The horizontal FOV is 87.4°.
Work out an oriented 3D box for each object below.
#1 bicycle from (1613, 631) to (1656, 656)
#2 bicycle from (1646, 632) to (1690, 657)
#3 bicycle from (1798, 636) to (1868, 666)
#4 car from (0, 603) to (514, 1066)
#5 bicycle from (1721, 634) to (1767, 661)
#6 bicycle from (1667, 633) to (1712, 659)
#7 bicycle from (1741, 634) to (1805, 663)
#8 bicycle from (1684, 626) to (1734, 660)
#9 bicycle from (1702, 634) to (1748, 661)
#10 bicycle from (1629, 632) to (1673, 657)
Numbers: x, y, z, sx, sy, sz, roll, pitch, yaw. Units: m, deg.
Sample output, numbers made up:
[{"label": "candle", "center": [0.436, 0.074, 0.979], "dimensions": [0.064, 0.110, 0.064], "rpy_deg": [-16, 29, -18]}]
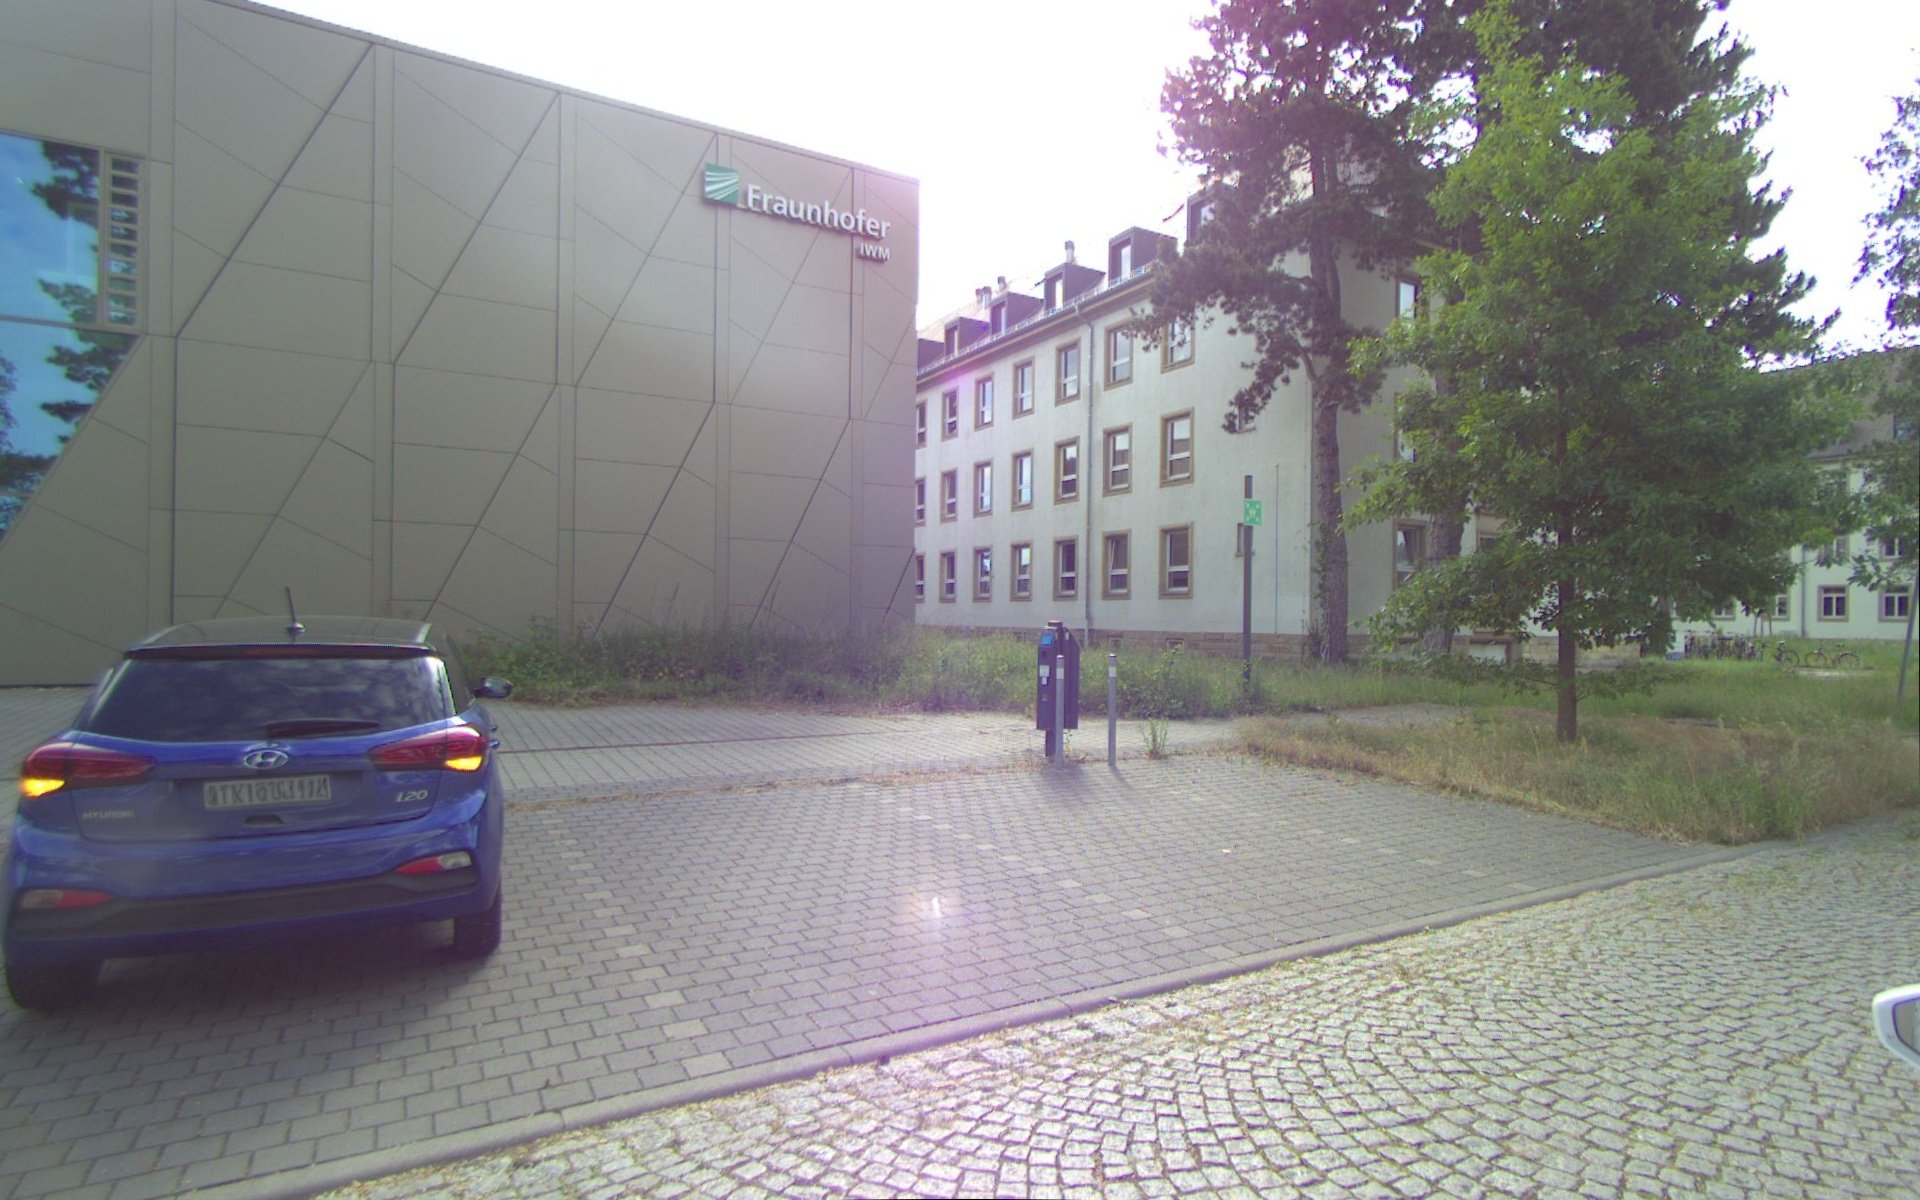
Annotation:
[{"label": "bicycle", "center": [30.615, 1.964, 45.584], "dimensions": [2.246, 1.090, 0.732], "rpy_deg": [1, -1, -30]}, {"label": "bicycle", "center": [31.185, 1.960, 44.250], "dimensions": [2.246, 1.090, 0.732], "rpy_deg": [1, -1, -30]}, {"label": "bicycle", "center": [33.242, 1.920, 38.280], "dimensions": [0.821, 1.090, 1.849], "rpy_deg": [1, -1, -27]}, {"label": "car", "center": [-3.487, 0.816, 5.380], "dimensions": [1.828, 1.498, 3.752], "rpy_deg": [1, 0, -27]}, {"label": "bicycle", "center": [32.645, 1.975, 41.833], "dimensions": [2.246, 1.090, 0.732], "rpy_deg": [1, -1, -30]}, {"label": "bicycle", "center": [31.916, 1.991, 43.934], "dimensions": [2.246, 1.090, 0.732], "rpy_deg": [1, -1, -30]}, {"label": "bicycle", "center": [32.298, 1.926, 39.907], "dimensions": [0.729, 1.090, 1.849], "rpy_deg": [1, -1, -27]}, {"label": "bicycle", "center": [32.211, 1.849, 43.181], "dimensions": [2.679, 1.404, 0.732], "rpy_deg": [1, -1, -30]}, {"label": "bicycle", "center": [32.266, 1.985, 42.352], "dimensions": [2.246, 1.090, 0.732], "rpy_deg": [1, -1, -30]}, {"label": "bicycle", "center": [30.892, 1.965, 44.925], "dimensions": [2.246, 1.090, 0.732], "rpy_deg": [1, -1, -30]}]
